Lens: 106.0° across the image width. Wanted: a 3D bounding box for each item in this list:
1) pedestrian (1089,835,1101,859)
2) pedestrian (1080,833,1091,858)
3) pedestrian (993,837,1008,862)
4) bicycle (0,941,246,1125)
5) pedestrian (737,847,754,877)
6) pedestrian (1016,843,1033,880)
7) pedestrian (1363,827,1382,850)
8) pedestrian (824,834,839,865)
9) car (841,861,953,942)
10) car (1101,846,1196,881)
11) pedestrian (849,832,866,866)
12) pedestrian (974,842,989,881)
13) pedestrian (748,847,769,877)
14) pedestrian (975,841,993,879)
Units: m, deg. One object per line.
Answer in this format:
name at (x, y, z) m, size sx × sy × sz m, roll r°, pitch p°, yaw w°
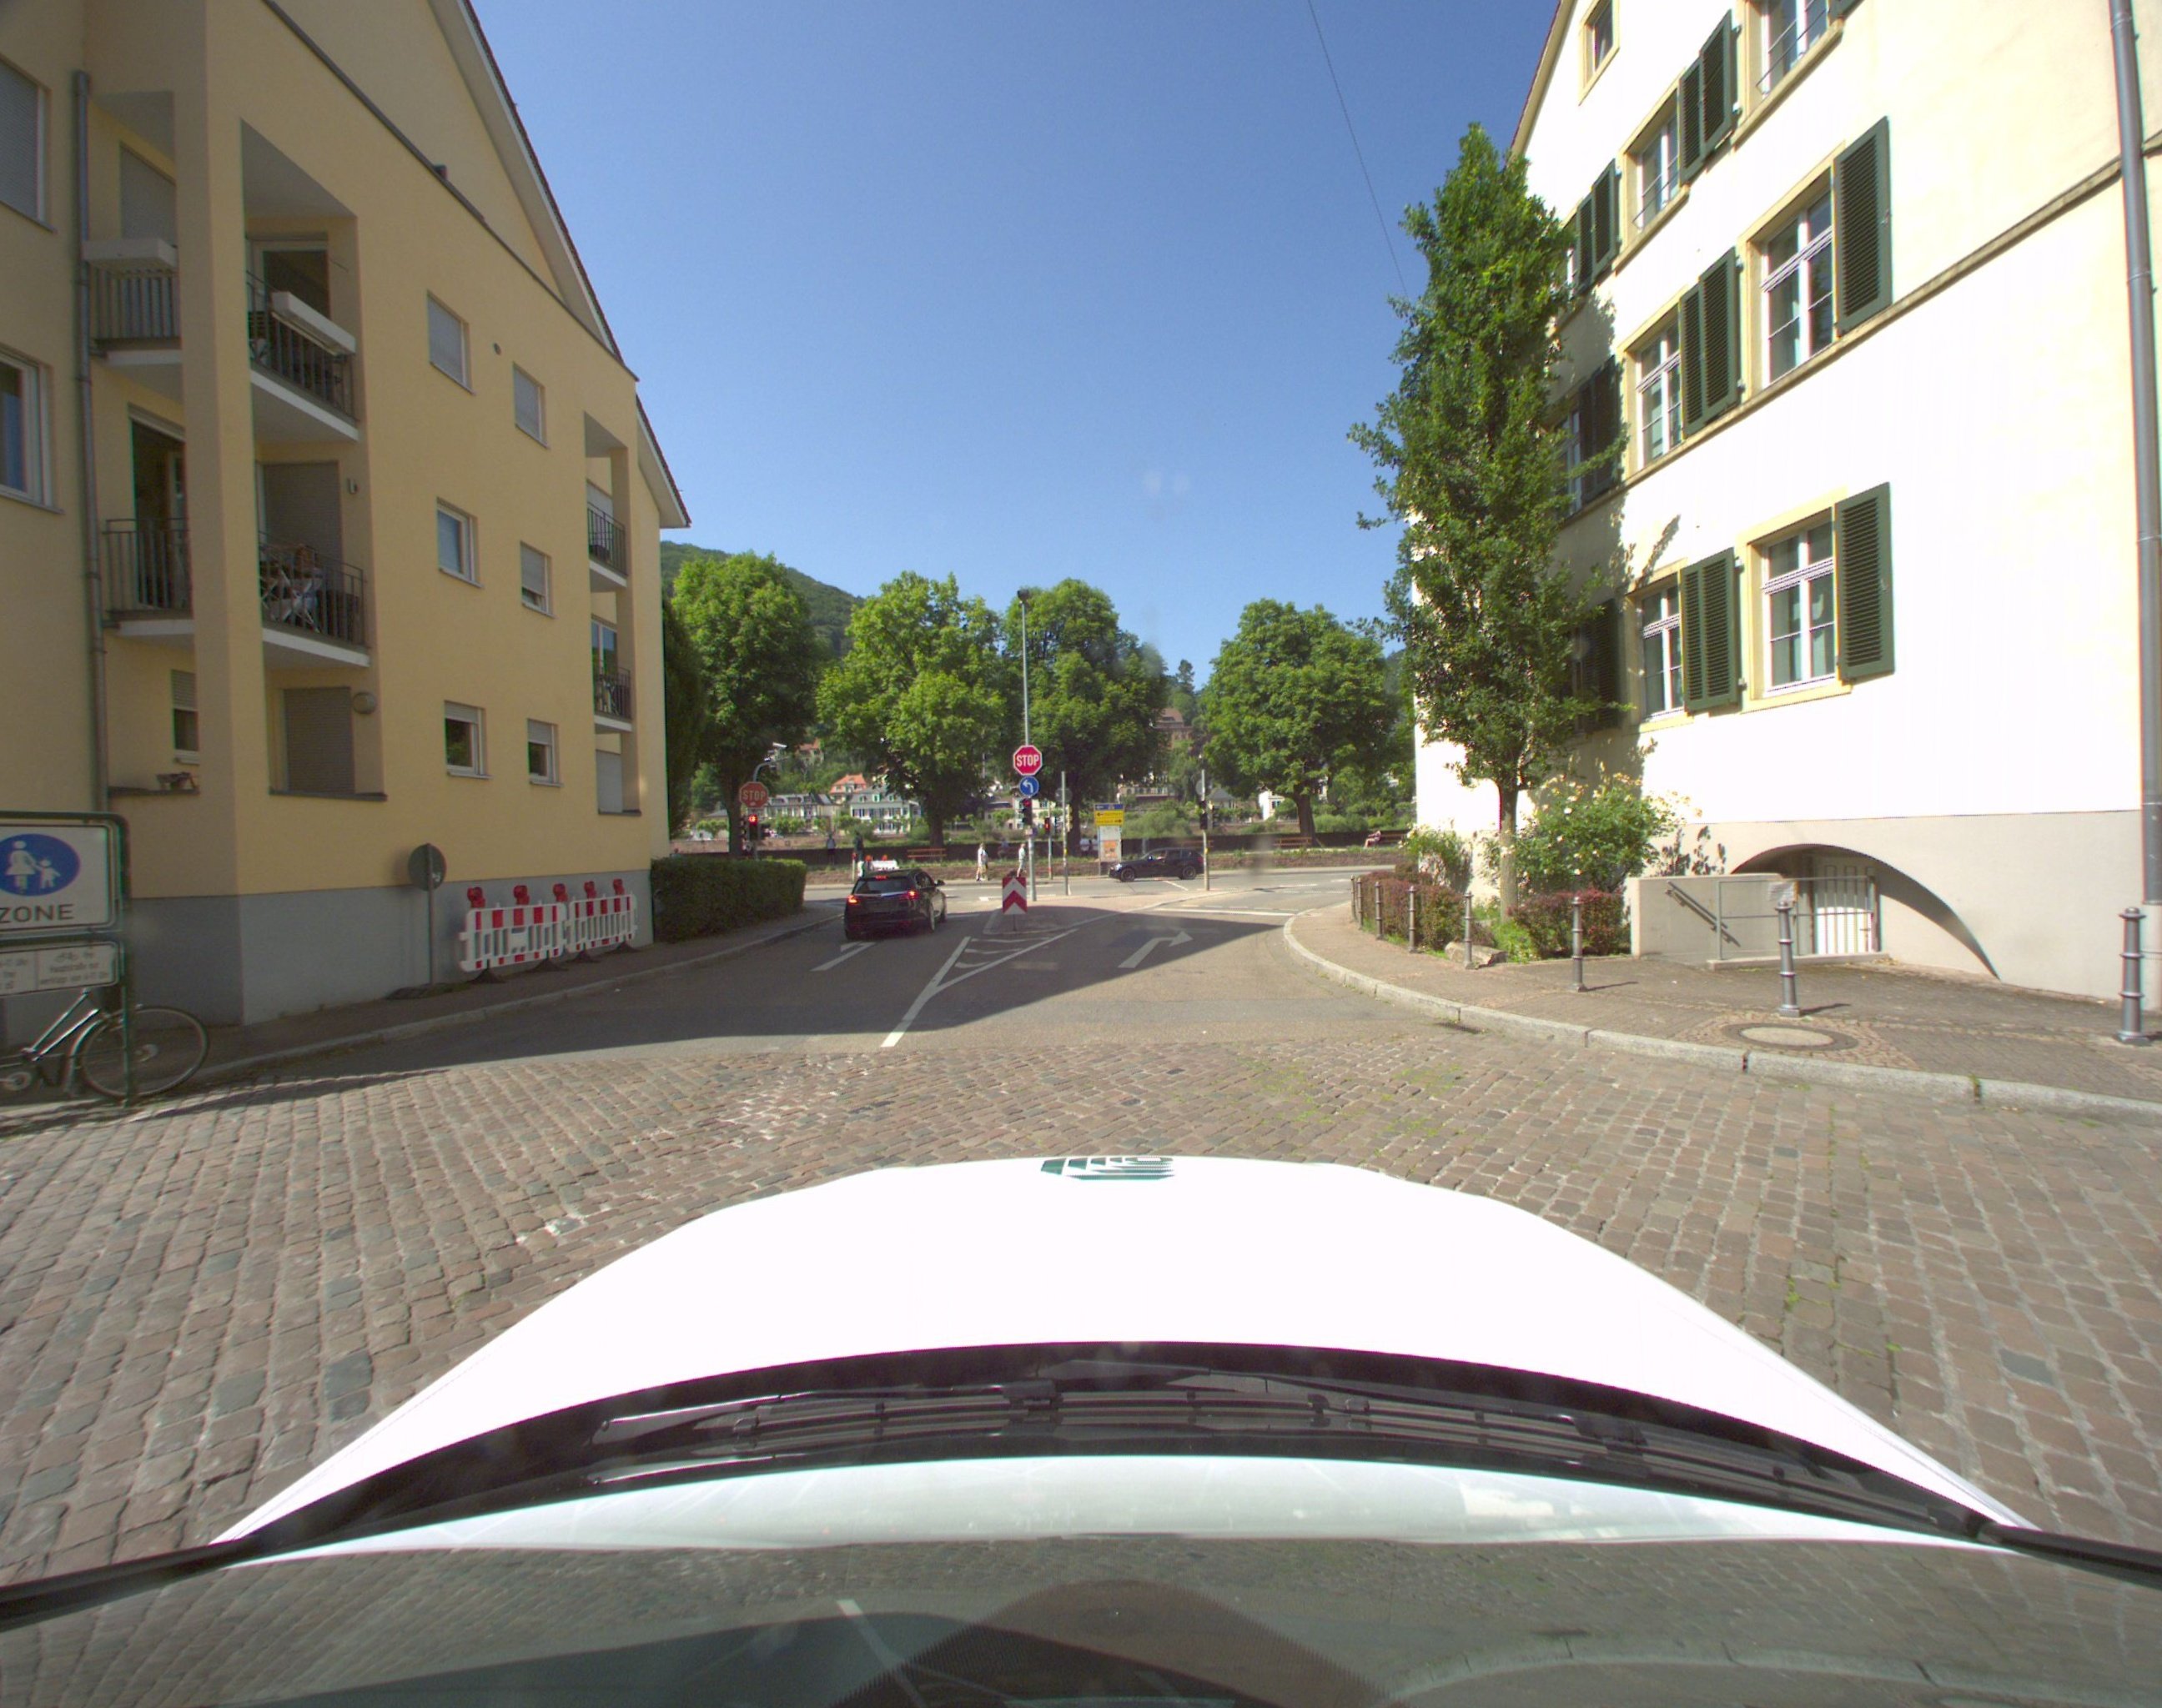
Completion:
pedestrian at (0.735, -0.390, 43.490) m, size 0.551 × 1.228 × 0.985 m, roll 0°, pitch -3°, yaw -3°
pedestrian at (0.221, -0.438, 43.295) m, size 0.551 × 1.279 × 0.703 m, roll 0°, pitch -3°, yaw -1°
pedestrian at (-4.197, -0.233, 42.594) m, size 0.642 × 1.227 × 0.412 m, roll -4°, pitch 3°, yaw -13°
bicycle at (-7.390, 1.285, 5.875) m, size 0.387 × 1.079 × 1.918 m, roll -2°, pitch 0°, yaw 16°
pedestrian at (-17.254, 0.398, 41.923) m, size 0.465 × 1.493 × 0.805 m, roll -2°, pitch 0°, yaw 1°
pedestrian at (-2.735, 0.365, 39.667) m, size 0.686 × 1.769 × 0.717 m, roll -3°, pitch -1°, yaw -1°
pedestrian at (15.884, -0.854, 44.405) m, size 0.795 × 1.211 × 0.715 m, roll 0°, pitch -3°, yaw 0°
pedestrian at (-14.555, -0.257, 47.511) m, size 0.708 × 1.732 × 0.753 m, roll -1°, pitch 0°, yaw -13°
car at (-4.110, 0.984, 18.940) m, size 1.710 × 1.462 × 4.719 m, roll -4°, pitch 1°, yaw -3°
car at (2.955, 0.396, 36.040) m, size 3.977 × 1.418 × 1.873 m, roll -2°, pitch 0°, yaw -3°
pedestrian at (-12.346, -0.278, 44.985) m, size 0.765 × 1.858 × 0.751 m, roll -1°, pitch 0°, yaw -21°
pedestrian at (-4.718, 0.339, 38.597) m, size 0.576 × 1.801 × 0.705 m, roll -2°, pitch 0°, yaw 0°
pedestrian at (-16.708, 0.400, 42.181) m, size 0.465 × 1.479 × 1.385 m, roll -2°, pitch 0°, yaw 1°
pedestrian at (-4.717, 0.314, 39.631) m, size 0.719 × 1.802 × 0.634 m, roll -3°, pitch -1°, yaw -1°
